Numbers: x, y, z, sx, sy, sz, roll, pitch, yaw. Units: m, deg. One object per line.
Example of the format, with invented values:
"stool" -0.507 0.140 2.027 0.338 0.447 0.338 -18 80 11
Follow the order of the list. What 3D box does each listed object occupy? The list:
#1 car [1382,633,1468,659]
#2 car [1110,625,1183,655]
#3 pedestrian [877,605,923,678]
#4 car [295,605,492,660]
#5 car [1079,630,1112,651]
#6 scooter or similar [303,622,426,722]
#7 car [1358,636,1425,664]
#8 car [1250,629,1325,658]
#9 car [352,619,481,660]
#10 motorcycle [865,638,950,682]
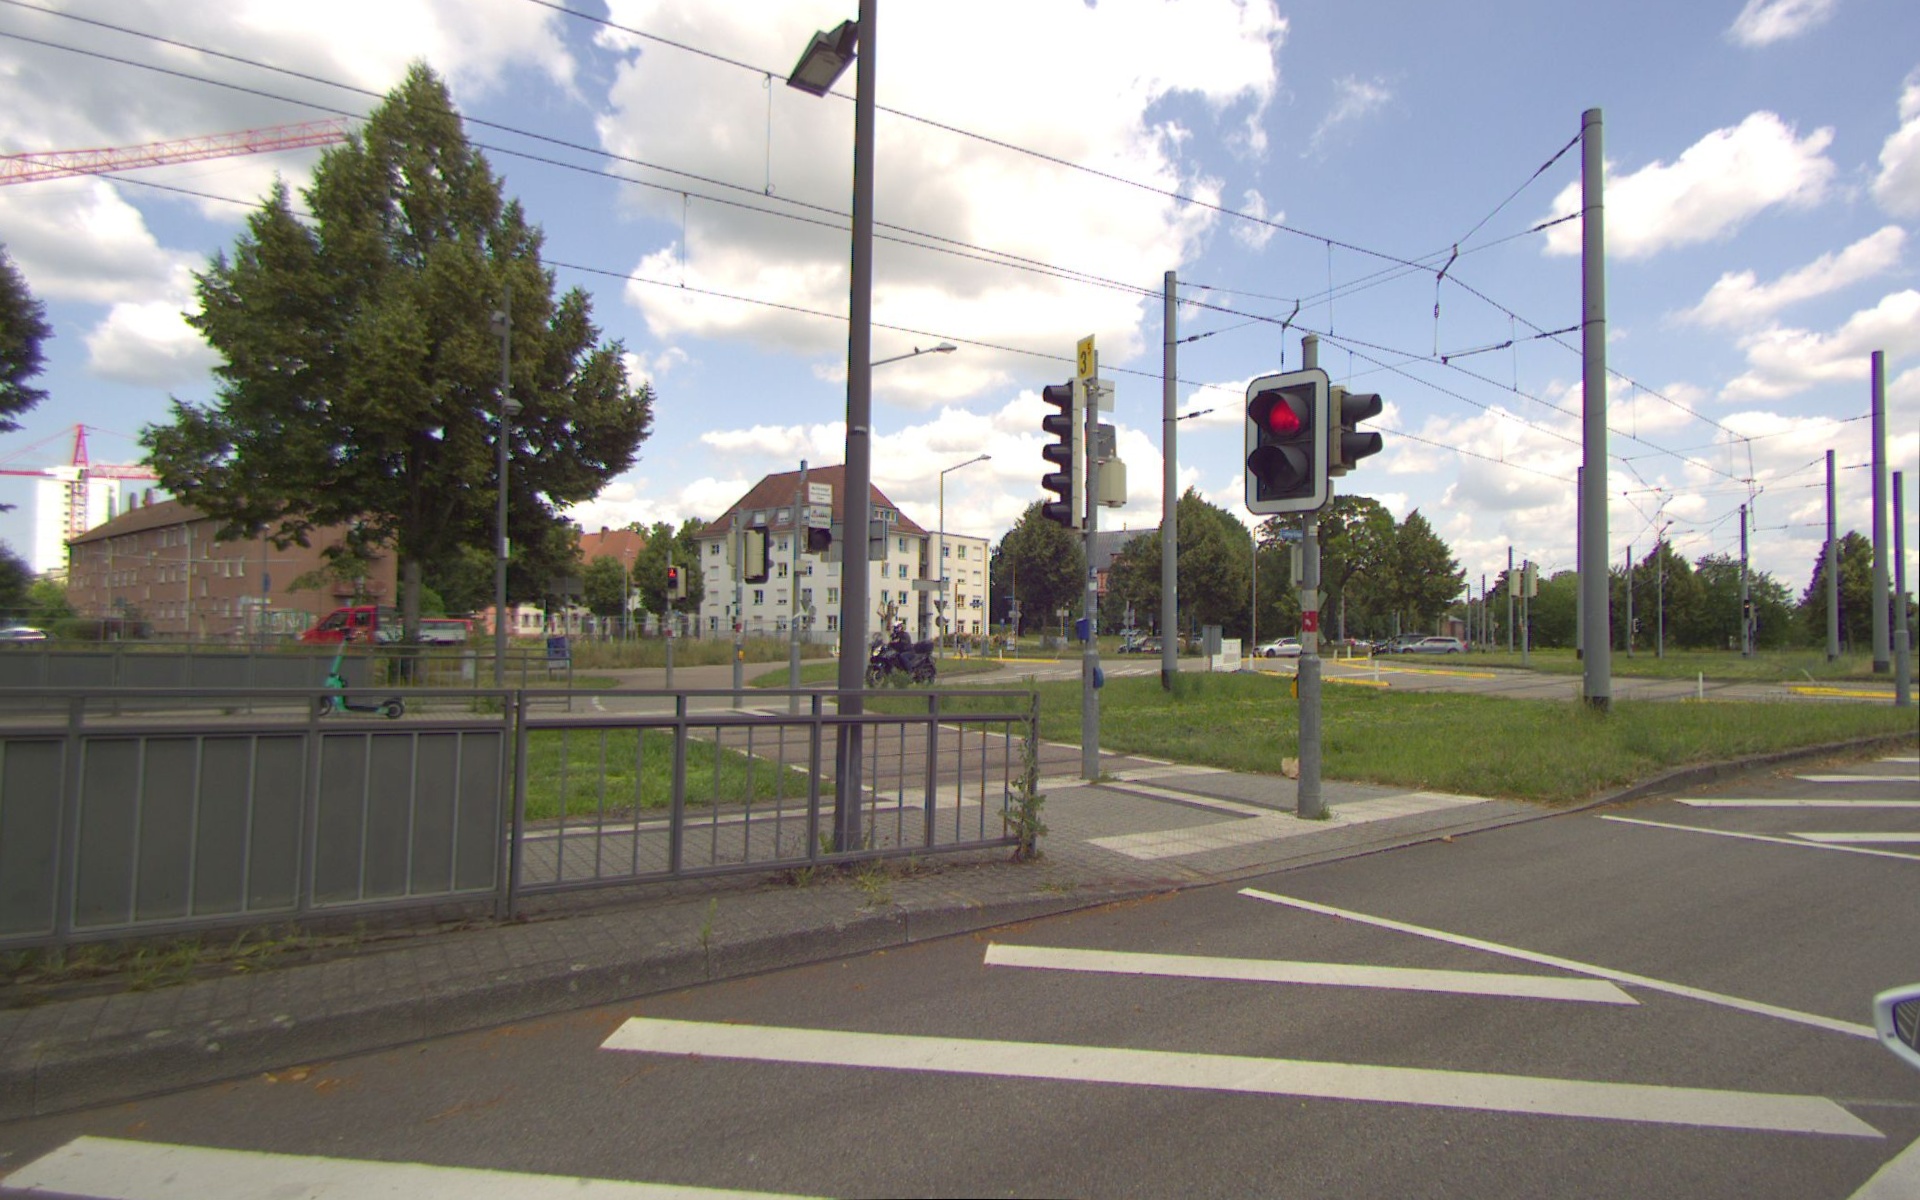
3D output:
"car" 31.346 3.065 67.752 4.846 1.648 2.066 0 0 0
"car" 13.037 2.785 70.174 4.639 2.040 1.997 0 -1 -9
"pedestrian" -1.432 0.979 23.985 0.767 1.695 0.816 1 -2 -41
"car" -23.571 1.373 42.106 6.714 2.226 2.391 1 -2 -10
"car" 13.931 4.151 103.390 1.965 2.040 3.991 -1 -2 31
"scooter or similar" -8.247 0.993 13.949 1.323 1.319 0.418 3 -2 -13
"car" 32.121 3.700 74.792 4.660 2.040 1.988 1 -2 -24
"car" 23.044 3.059 70.784 4.637 2.040 1.998 0 -1 -7
"car" -26.215 1.905 48.634 5.096 1.876 2.082 1 -2 -14
"motorcycle" -1.232 1.415 24.081 2.178 1.006 0.565 2 -2 -42
